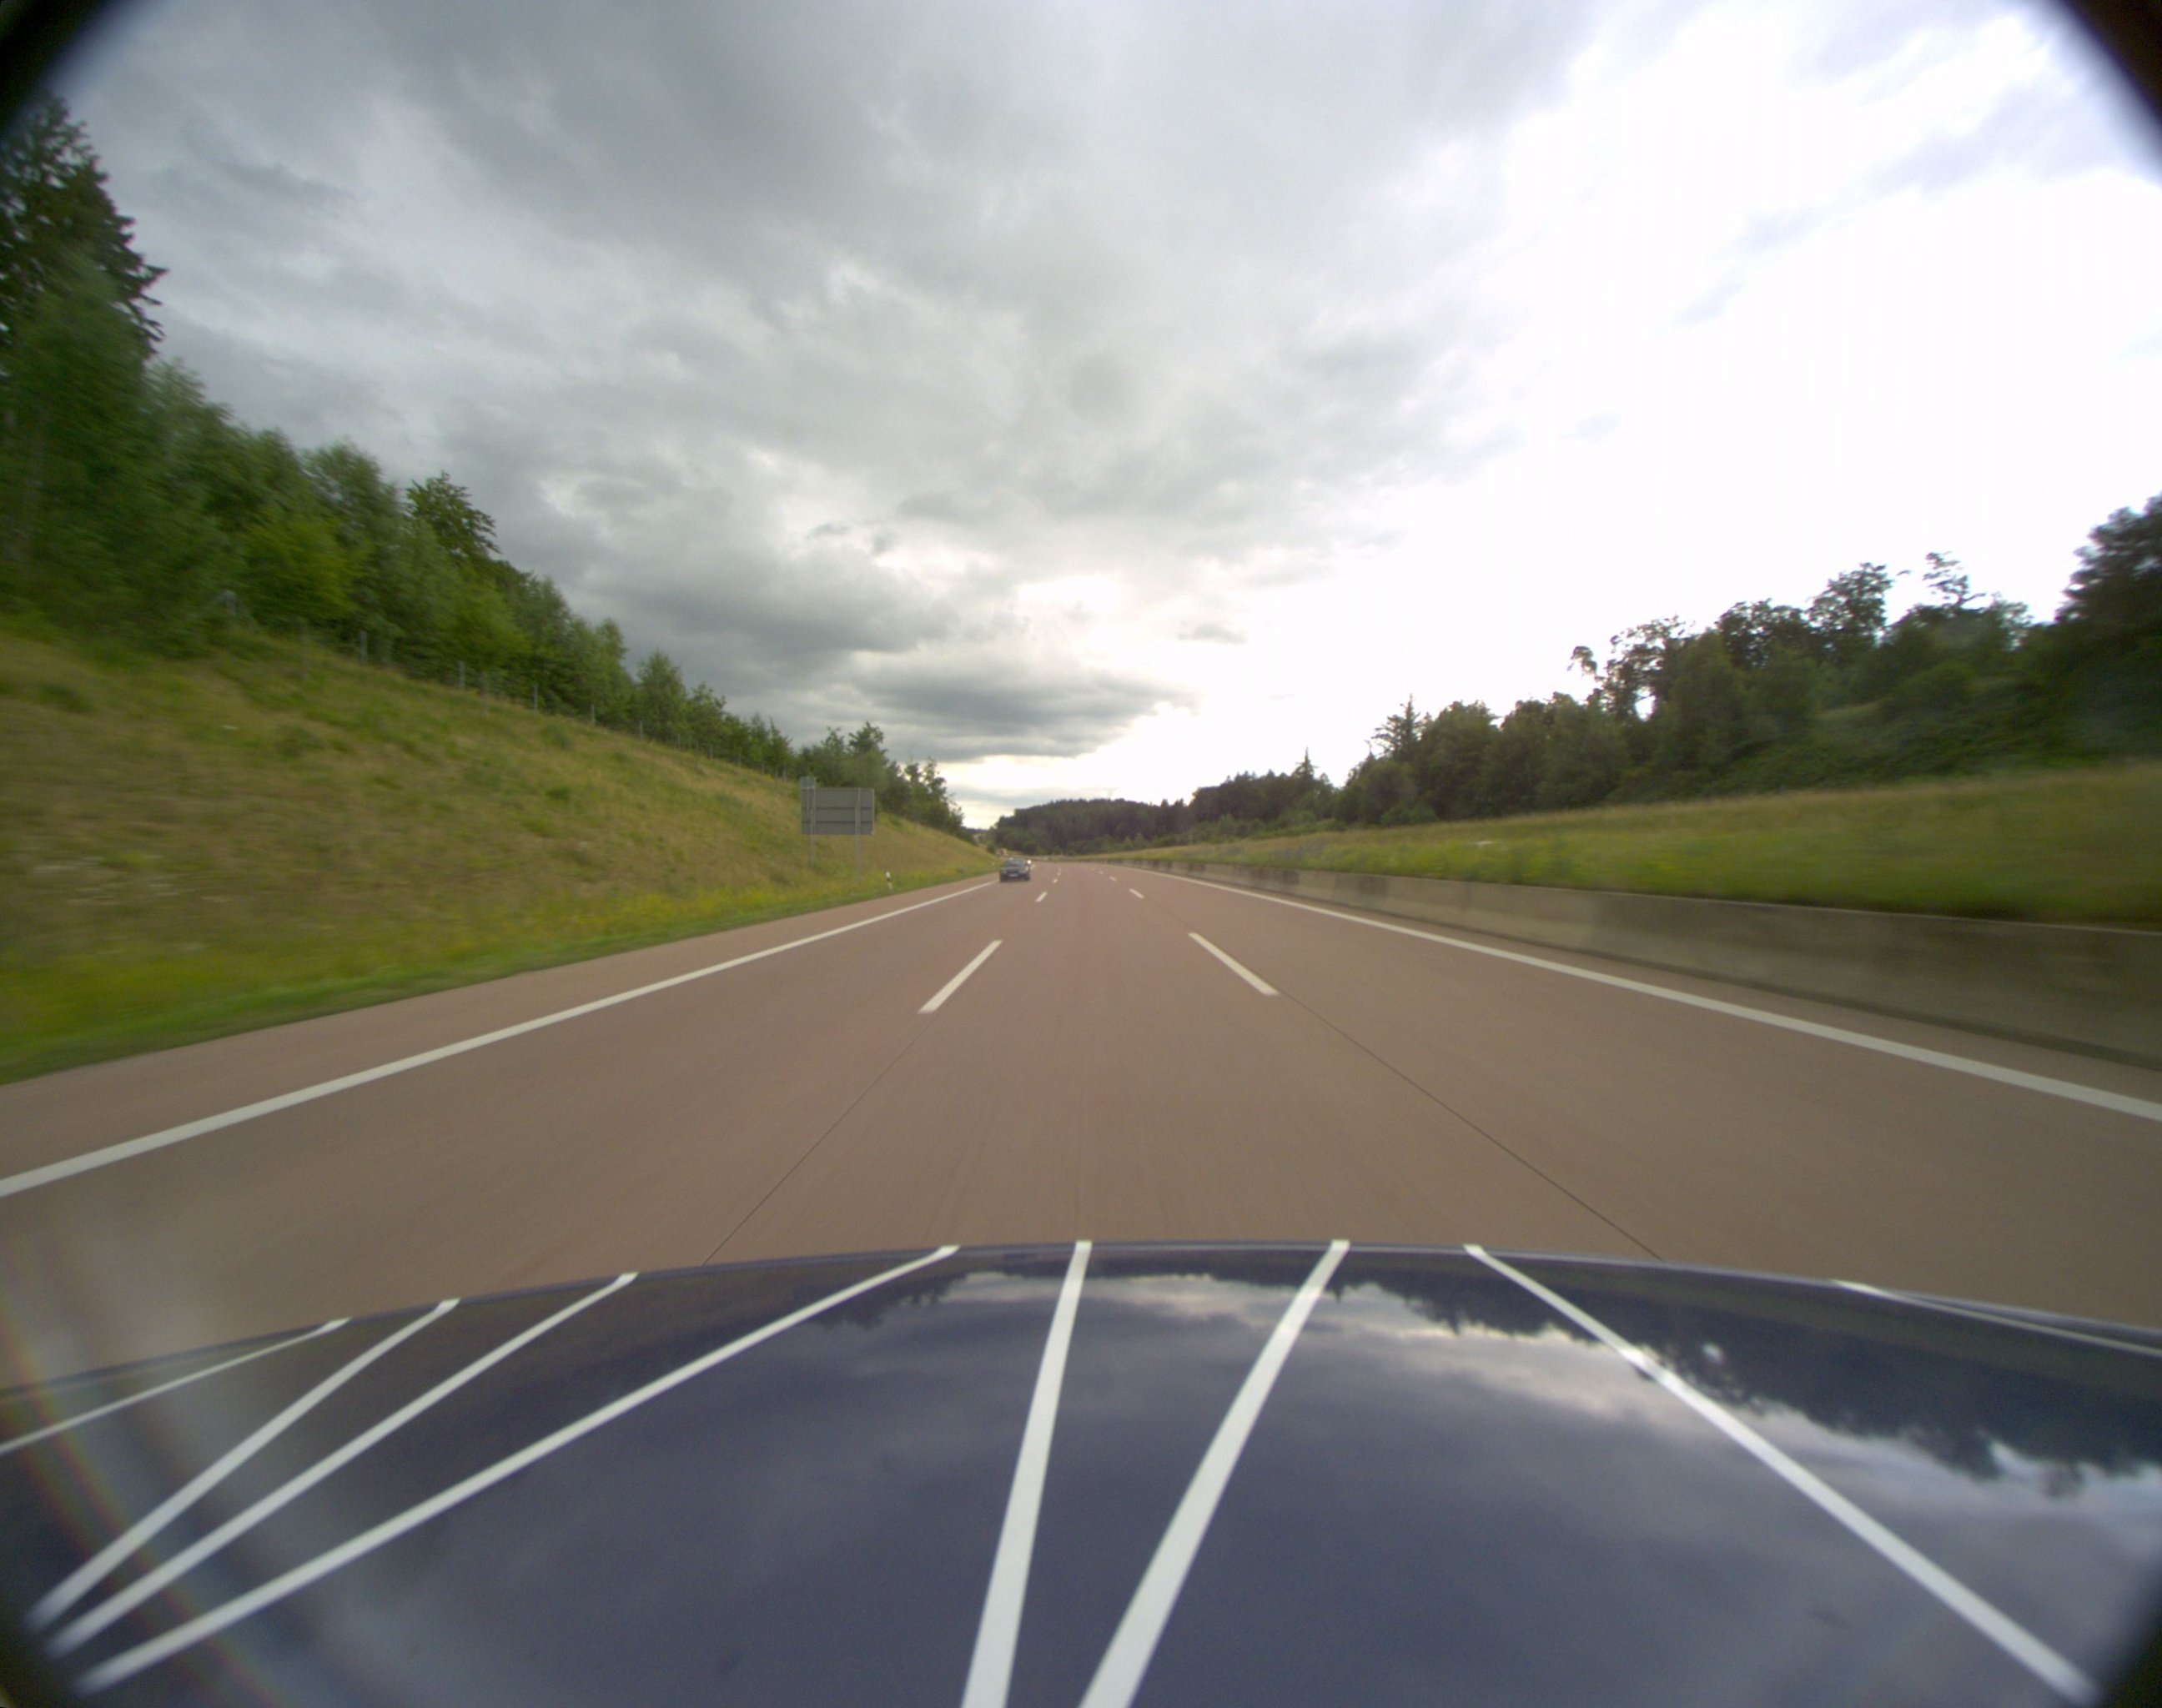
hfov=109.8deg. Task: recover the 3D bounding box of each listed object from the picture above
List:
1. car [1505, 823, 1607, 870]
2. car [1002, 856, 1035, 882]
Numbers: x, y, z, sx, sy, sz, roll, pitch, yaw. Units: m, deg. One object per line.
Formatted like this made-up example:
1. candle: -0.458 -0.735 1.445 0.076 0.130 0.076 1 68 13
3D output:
1. car: 22.313 -0.393 35.898 2.000 2.002 3.996 -3 2 -7
2. car: -3.866 0.909 47.818 1.676 1.395 4.232 -1 1 0
